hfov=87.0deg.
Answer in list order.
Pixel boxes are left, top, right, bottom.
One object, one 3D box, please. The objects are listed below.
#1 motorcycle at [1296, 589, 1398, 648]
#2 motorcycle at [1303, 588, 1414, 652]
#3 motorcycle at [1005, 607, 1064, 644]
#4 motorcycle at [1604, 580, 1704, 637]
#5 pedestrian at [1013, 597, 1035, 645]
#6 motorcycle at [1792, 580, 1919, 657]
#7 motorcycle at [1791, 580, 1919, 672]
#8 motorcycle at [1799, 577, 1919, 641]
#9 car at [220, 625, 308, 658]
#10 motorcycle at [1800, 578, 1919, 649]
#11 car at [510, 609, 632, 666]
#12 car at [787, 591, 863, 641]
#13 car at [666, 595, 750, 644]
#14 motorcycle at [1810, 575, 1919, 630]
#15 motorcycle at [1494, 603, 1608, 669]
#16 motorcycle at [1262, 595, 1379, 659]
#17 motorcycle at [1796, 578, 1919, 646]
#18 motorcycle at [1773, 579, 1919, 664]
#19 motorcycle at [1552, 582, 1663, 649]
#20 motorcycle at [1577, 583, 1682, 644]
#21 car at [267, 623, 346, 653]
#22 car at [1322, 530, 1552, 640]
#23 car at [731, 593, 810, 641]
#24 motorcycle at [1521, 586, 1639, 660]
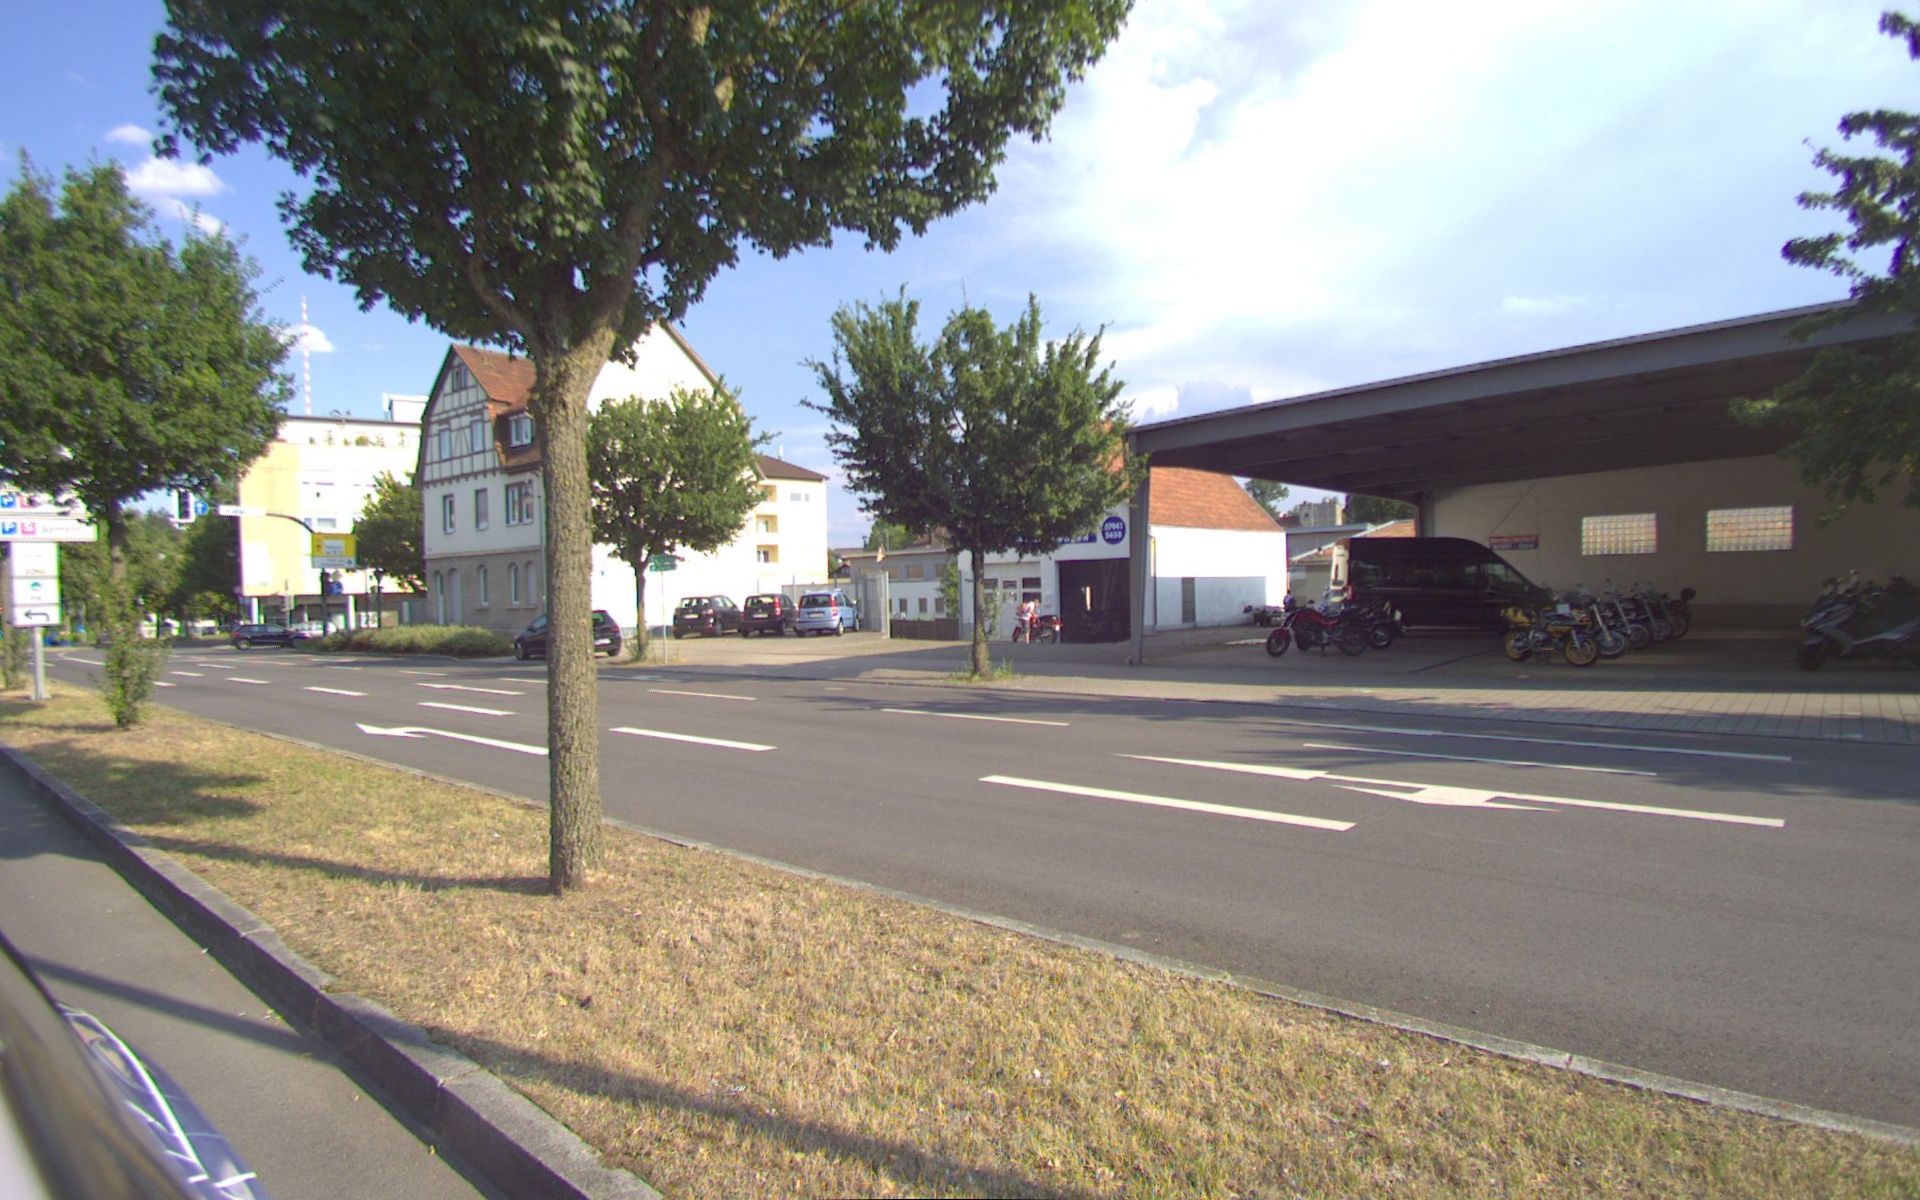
[{"bbox_3d":[9.385,0.449,24.603,2.198,1.372,0.630,-1,0,5],"label":"motorcycle"},{"bbox_3d":[8.962,0.447,22.799,2.198,1.372,0.630,-1,0,5],"label":"motorcycle"},{"bbox_3d":[2.439,0.835,33.206,1.974,1.194,0.577,-1,0,41],"label":"motorcycle"},{"bbox_3d":[17.296,0.217,25.299,0.621,1.347,2.269,-1,0,-9],"label":"motorcycle"},{"bbox_3d":[2.078,0.672,32.760,0.485,1.530,0.496,-1,0,41],"label":"pedestrian"},{"bbox_3d":[16.537,0.338,18.344,2.103,1.306,0.628,-3,-1,17],"label":"motorcycle"},{"bbox_3d":[13.867,0.373,15.111,2.103,1.306,0.628,-3,-1,17],"label":"motorcycle"},{"bbox_3d":[20.234,0.204,22.640,2.103,1.306,0.628,-3,-1,17],"label":"motorcycle"},{"bbox_3d":[-38.475,2.288,55.978,3.934,1.644,1.865,-1,0,-36],"label":"car"},{"bbox_3d":[18.051,0.267,19.984,2.103,1.306,0.628,-3,-1,17],"label":"motorcycle"},{"bbox_3d":[-11.595,1.076,30.071,3.823,1.462,1.795,-1,2,42],"label":"car"},{"bbox_3d":[-4.677,0.516,35.672,1.797,1.512,3.819,-3,2,5],"label":"car"},{"bbox_3d":[-9.317,0.686,37.694,1.797,1.512,3.819,-3,2,5],"label":"car"},{"bbox_3d":[23.740,0.070,26.517,2.103,1.306,0.628,-3,-1,17],"label":"motorcycle"},{"bbox_3d":[10.537,0.616,18.147,0.621,1.095,2.038,-1,0,-7],"label":"motorcycle"},{"bbox_3d":[7.502,0.558,21.155,2.202,1.290,0.629,-1,0,11],"label":"motorcycle"},{"bbox_3d":[19.040,0.254,21.285,2.103,1.306,0.628,-3,-1,17],"label":"motorcycle"},{"bbox_3d":[14.919,0.359,16.772,2.103,1.306,0.628,-3,-1,17],"label":"motorcycle"},{"bbox_3d":[13.870,0.322,21.765,0.621,1.347,2.269,-1,0,-9],"label":"motorcycle"},{"bbox_3d":[15.543,0.299,23.575,0.621,1.347,2.269,-1,0,-9],"label":"motorcycle"},{"bbox_3d":[-39.797,2.306,61.633,3.934,1.644,1.865,-1,0,-36],"label":"car"},{"bbox_3d":[12.871,-0.381,27.624,5.221,2.773,1.996,-1,0,7],"label":"car"},{"bbox_3d":[-6.916,0.581,37.302,1.797,1.512,3.819,-3,2,5],"label":"car"},{"bbox_3d":[12.164,0.435,19.952,0.621,1.347,2.269,-1,0,-9],"label":"motorcycle"}]
